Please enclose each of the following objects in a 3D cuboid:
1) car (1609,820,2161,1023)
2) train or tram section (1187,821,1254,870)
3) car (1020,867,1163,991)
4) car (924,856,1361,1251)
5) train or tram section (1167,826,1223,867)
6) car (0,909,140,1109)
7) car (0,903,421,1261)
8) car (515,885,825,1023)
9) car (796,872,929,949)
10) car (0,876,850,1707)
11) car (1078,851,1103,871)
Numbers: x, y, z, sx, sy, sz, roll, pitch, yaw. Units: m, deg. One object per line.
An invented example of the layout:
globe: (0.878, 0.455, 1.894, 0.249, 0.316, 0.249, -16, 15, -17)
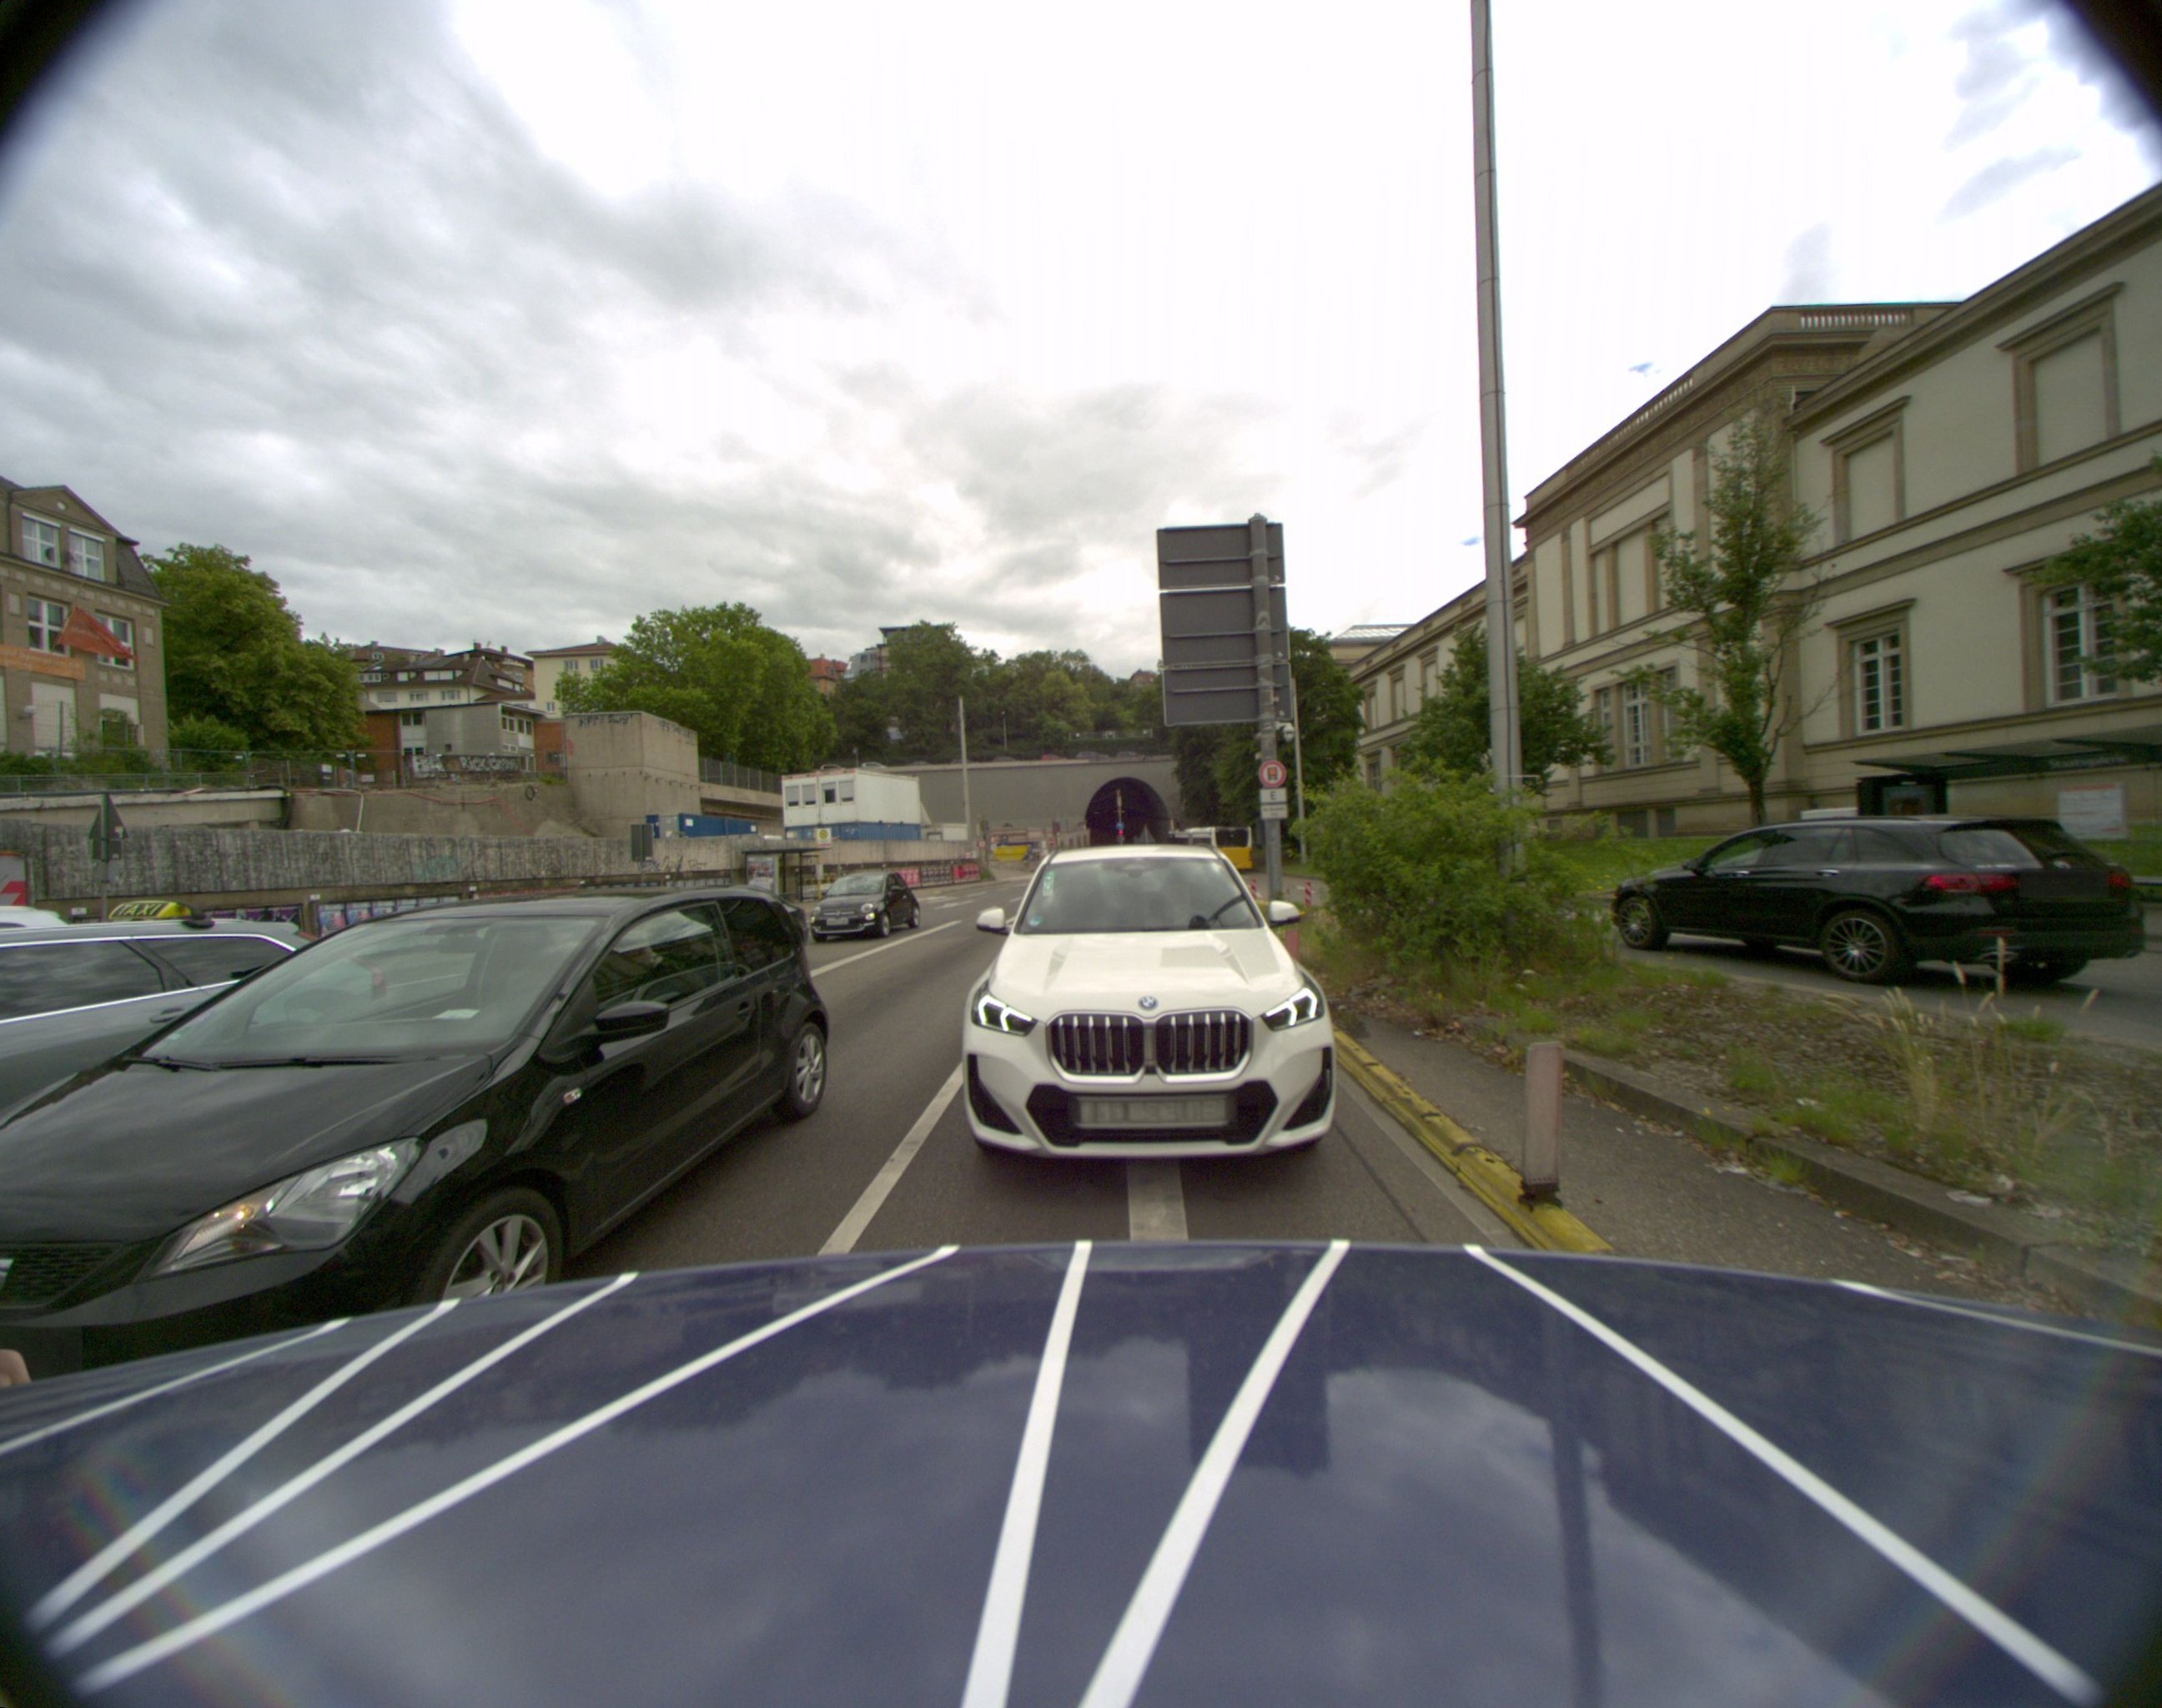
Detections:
car: (8.353, 0.530, 8.462, 1.884, 1.616, 4.370, -2, 1, 0)
train or tram section: (9.407, -0.550, 52.412, 2.701, 3.053, 9.335, -1, 0, -1)
car: (0.220, 0.994, 11.592, 1.756, 1.427, 3.911, -2, 0, 3)
car: (0.338, 0.850, 5.116, 1.756, 1.547, 3.911, -2, 1, 3)
train or tram section: (9.065, -0.564, 61.743, 2.701, 3.053, 9.374, -1, 0, -3)
car: (-9.152, 1.262, 4.572, 1.826, 1.457, 4.073, -2, 1, 0)
car: (-5.826, 1.146, 3.448, 1.826, 1.457, 4.217, -2, 1, 2)
car: (-5.401, 1.230, 10.754, 1.826, 1.356, 4.219, -2, 0, 4)
car: (-4.967, 1.235, 17.843, 1.720, 1.450, 3.782, -3, 0, 4)
car: (-2.531, 0.981, 3.269, 1.661, 1.547, 3.911, -2, 1, 3)
car: (0.806, 0.549, 62.572, 1.948, 1.565, 3.999, -2, 1, 1)
